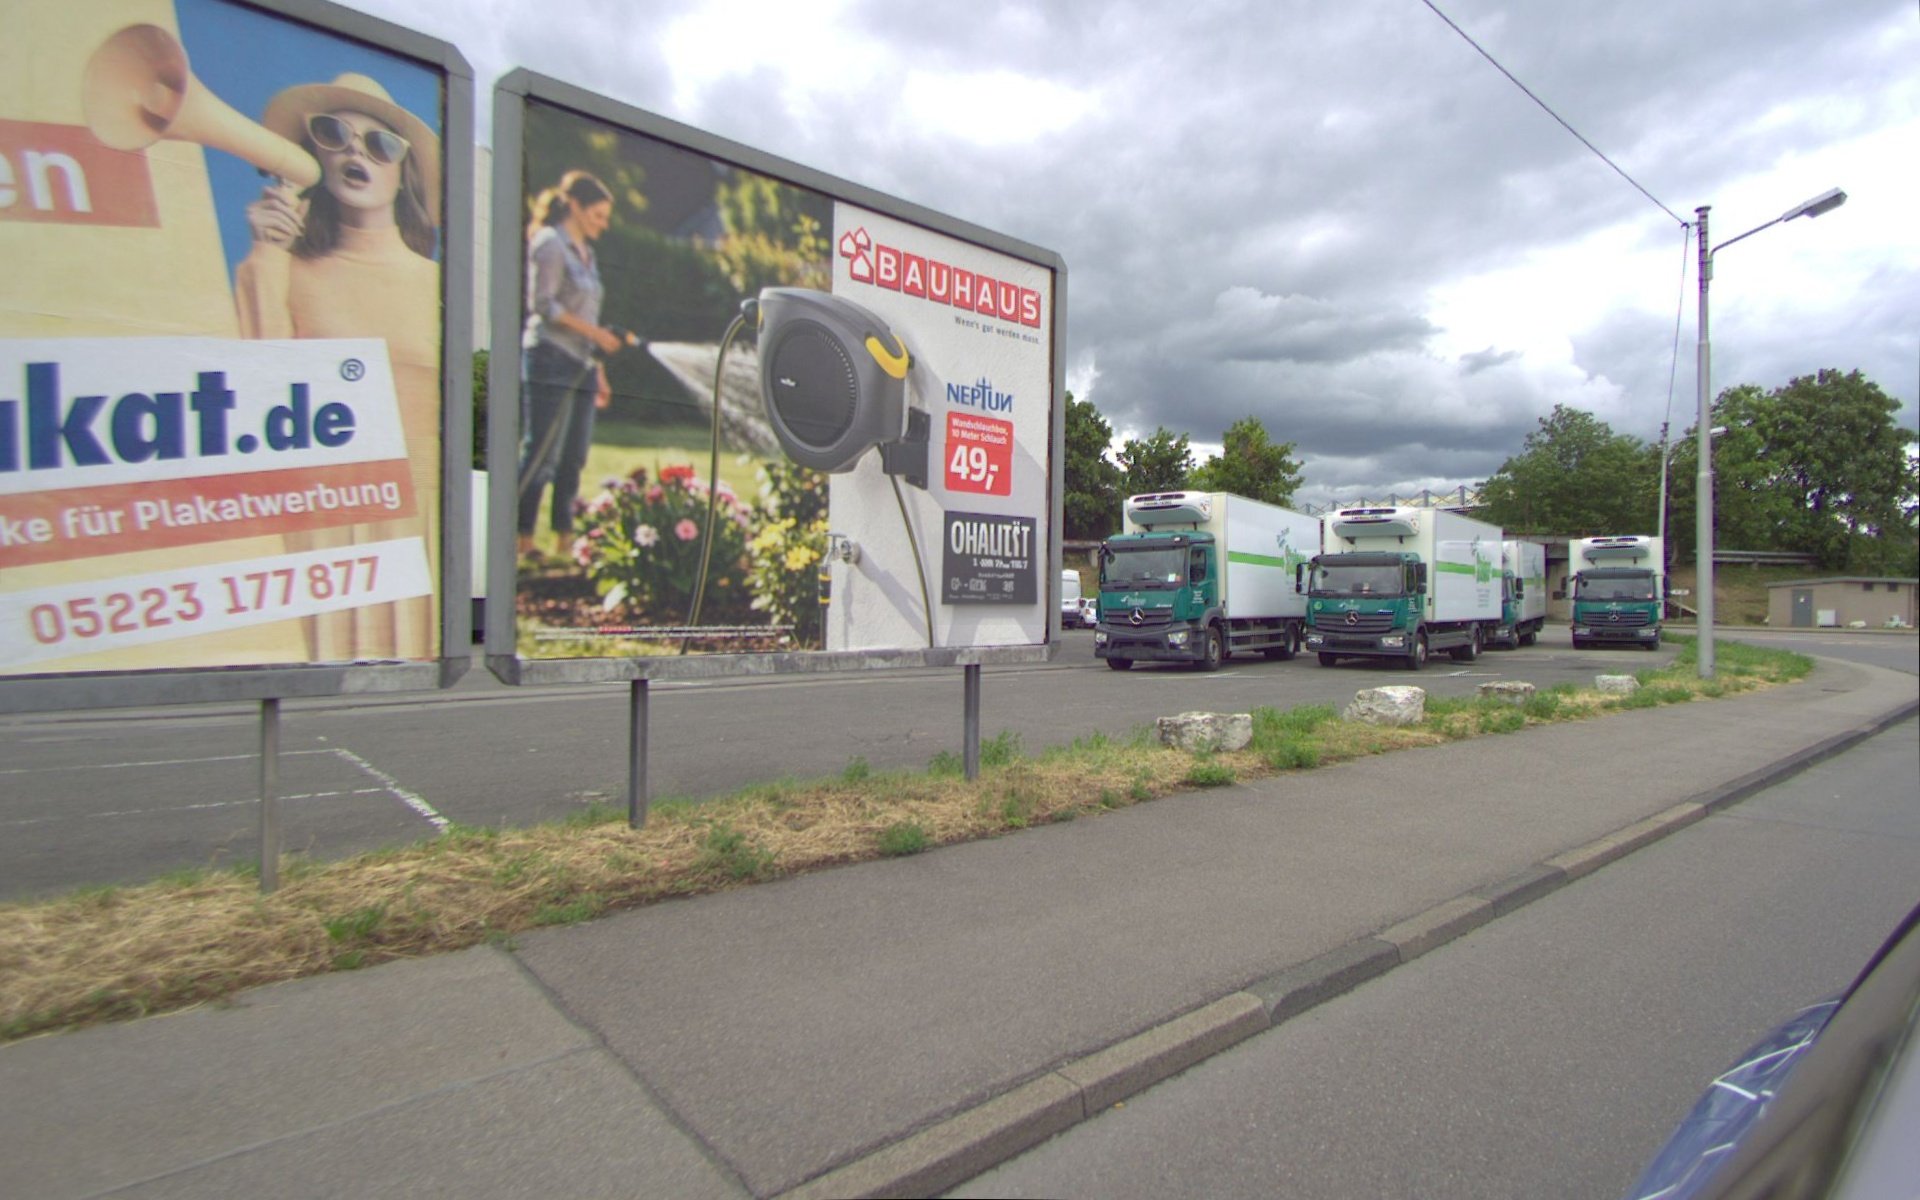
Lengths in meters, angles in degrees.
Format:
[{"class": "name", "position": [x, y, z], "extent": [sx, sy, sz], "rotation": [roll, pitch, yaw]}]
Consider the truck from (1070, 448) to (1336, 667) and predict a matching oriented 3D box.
[{"class": "truck", "position": [6.661, -0.932, 25.871], "extent": [2.969, 4.489, 10.426], "rotation": [-1, 0, 35]}]

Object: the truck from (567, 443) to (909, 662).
[{"class": "truck", "position": [-4.593, -1.013, 22.993], "extent": [3.046, 4.051, 7.956], "rotation": [3, 2, 29]}]

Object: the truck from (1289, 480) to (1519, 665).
[{"class": "truck", "position": [11.868, -0.547, 26.245], "extent": [2.973, 3.880, 10.288], "rotation": [-1, -1, 38]}]

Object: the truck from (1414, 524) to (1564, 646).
[{"class": "truck", "position": [18.516, -0.487, 35.074], "extent": [3.055, 3.677, 8.488], "rotation": [-3, -1, 38]}]

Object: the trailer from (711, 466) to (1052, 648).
[{"class": "trailer", "position": [-1.413, -1.021, 28.872], "extent": [3.037, 4.026, 12.970], "rotation": [3, 1, 28]}]

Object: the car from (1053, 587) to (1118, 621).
[{"class": "car", "position": [6.042, 0.149, 49.165], "extent": [1.830, 1.527, 4.009], "rotation": [0, 1, -14]}]

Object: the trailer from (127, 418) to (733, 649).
[{"class": "trailer", "position": [-11.610, -1.238, 24.761], "extent": [2.691, 4.232, 13.309], "rotation": [1, 1, 36]}]

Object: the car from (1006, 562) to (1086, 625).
[{"class": "car", "position": [4.021, -0.365, 48.562], "extent": [1.982, 2.813, 5.913], "rotation": [0, 1, -14]}]

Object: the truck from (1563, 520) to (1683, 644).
[{"class": "truck", "position": [22.679, -0.596, 34.440], "extent": [3.053, 3.677, 8.496], "rotation": [0, 1, 35]}]

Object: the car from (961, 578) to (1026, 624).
[{"class": "car", "position": [1.503, -0.001, 47.526], "extent": [1.958, 2.076, 4.009], "rotation": [1, 1, -15]}]

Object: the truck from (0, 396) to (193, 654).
[{"class": "truck", "position": [-16.551, -1.259, 18.002], "extent": [2.693, 4.266, 4.022], "rotation": [1, 0, 37]}]
